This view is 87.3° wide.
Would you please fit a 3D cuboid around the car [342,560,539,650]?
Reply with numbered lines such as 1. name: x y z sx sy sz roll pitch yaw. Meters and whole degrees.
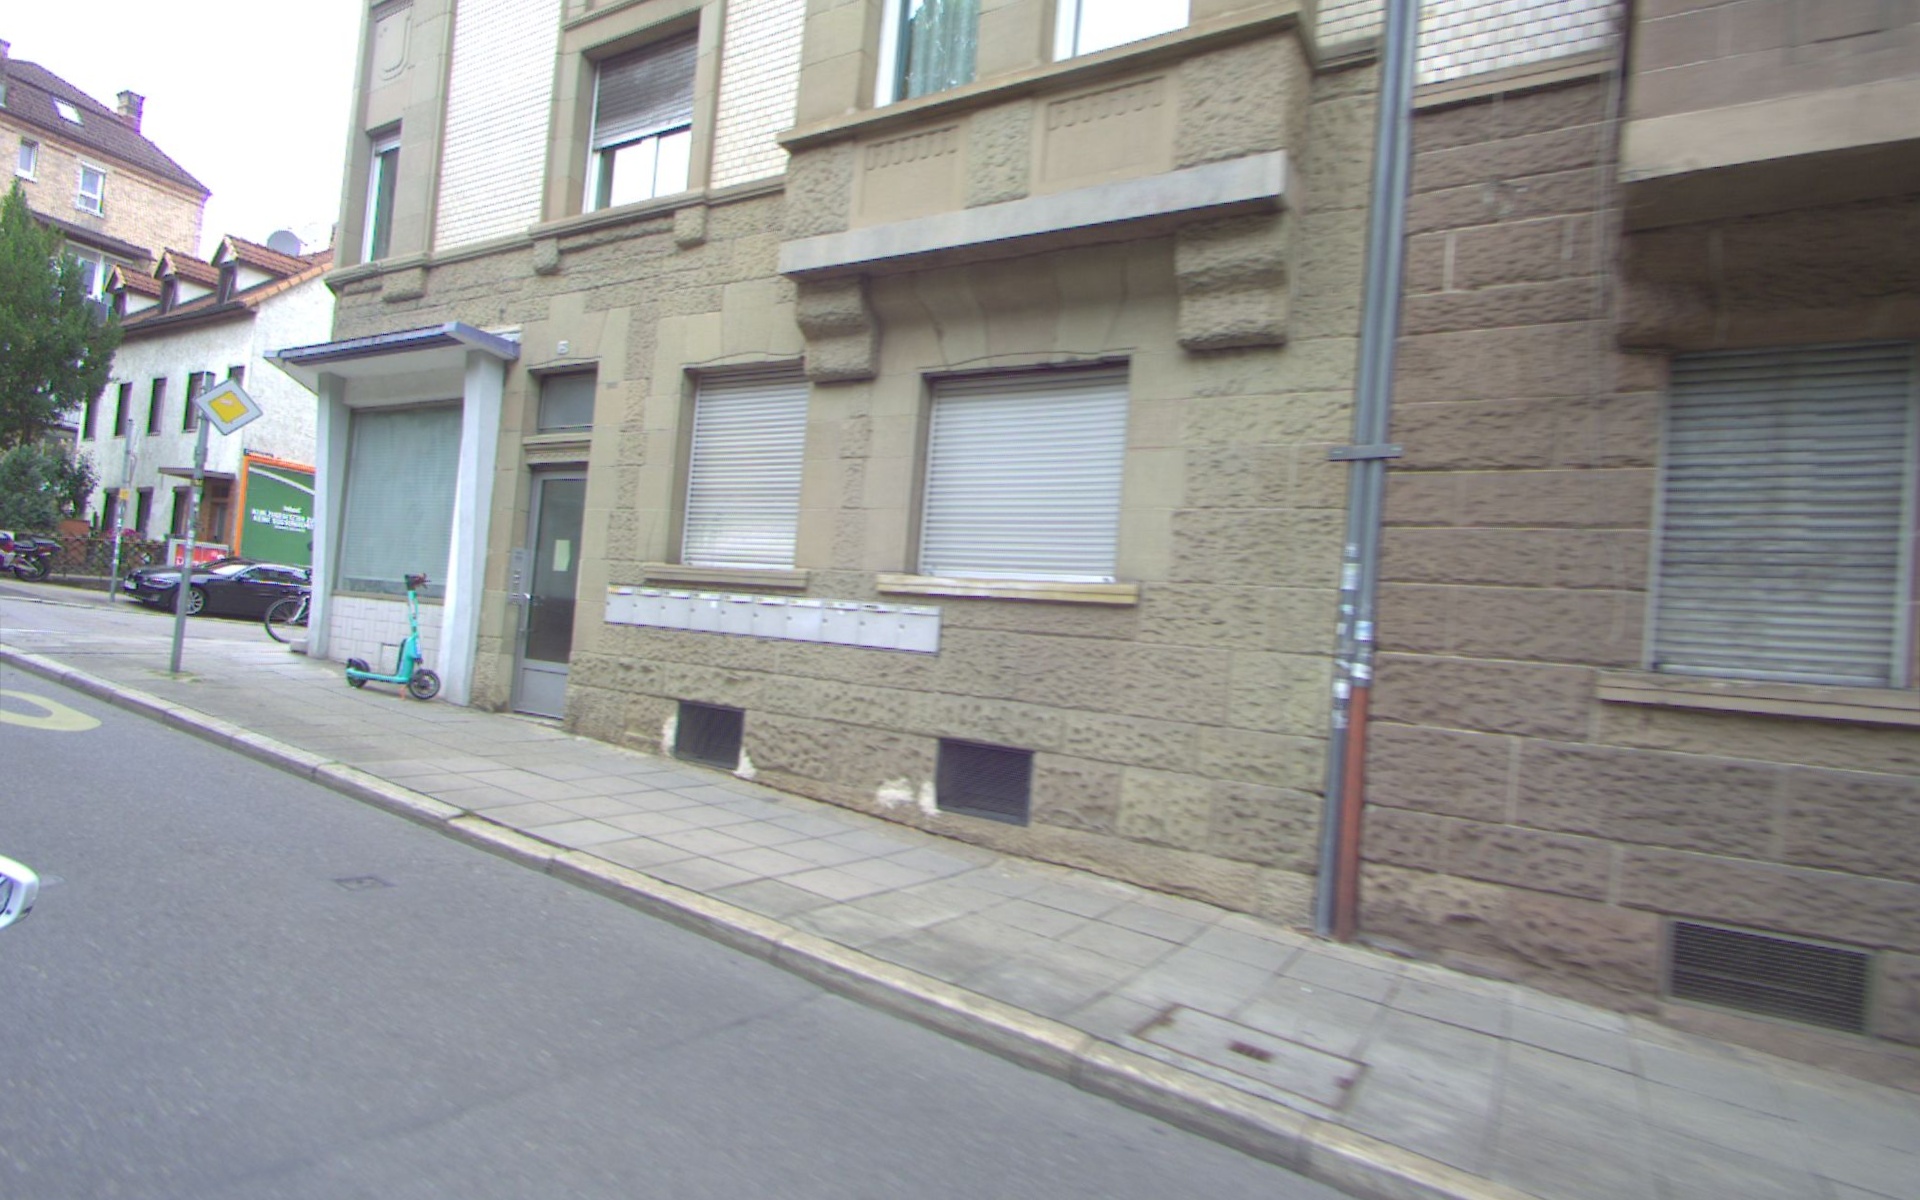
1. car: -13.903 0.207 27.224 1.842 1.681 4.319 8 -4 26

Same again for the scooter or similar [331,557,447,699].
1. scooter or similar: -5.728 0.269 10.080 1.126 1.226 0.410 10 3 31

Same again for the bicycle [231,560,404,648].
1. bicycle: -9.721 0.082 15.307 2.040 1.152 0.641 4 -4 -13

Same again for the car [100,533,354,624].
1. car: -16.265 -0.416 22.559 1.752 1.300 4.136 10 -1 29

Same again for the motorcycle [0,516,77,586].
1. motorcycle: -20.100 -1.112 21.073 0.992 1.281 2.063 7 -3 27
